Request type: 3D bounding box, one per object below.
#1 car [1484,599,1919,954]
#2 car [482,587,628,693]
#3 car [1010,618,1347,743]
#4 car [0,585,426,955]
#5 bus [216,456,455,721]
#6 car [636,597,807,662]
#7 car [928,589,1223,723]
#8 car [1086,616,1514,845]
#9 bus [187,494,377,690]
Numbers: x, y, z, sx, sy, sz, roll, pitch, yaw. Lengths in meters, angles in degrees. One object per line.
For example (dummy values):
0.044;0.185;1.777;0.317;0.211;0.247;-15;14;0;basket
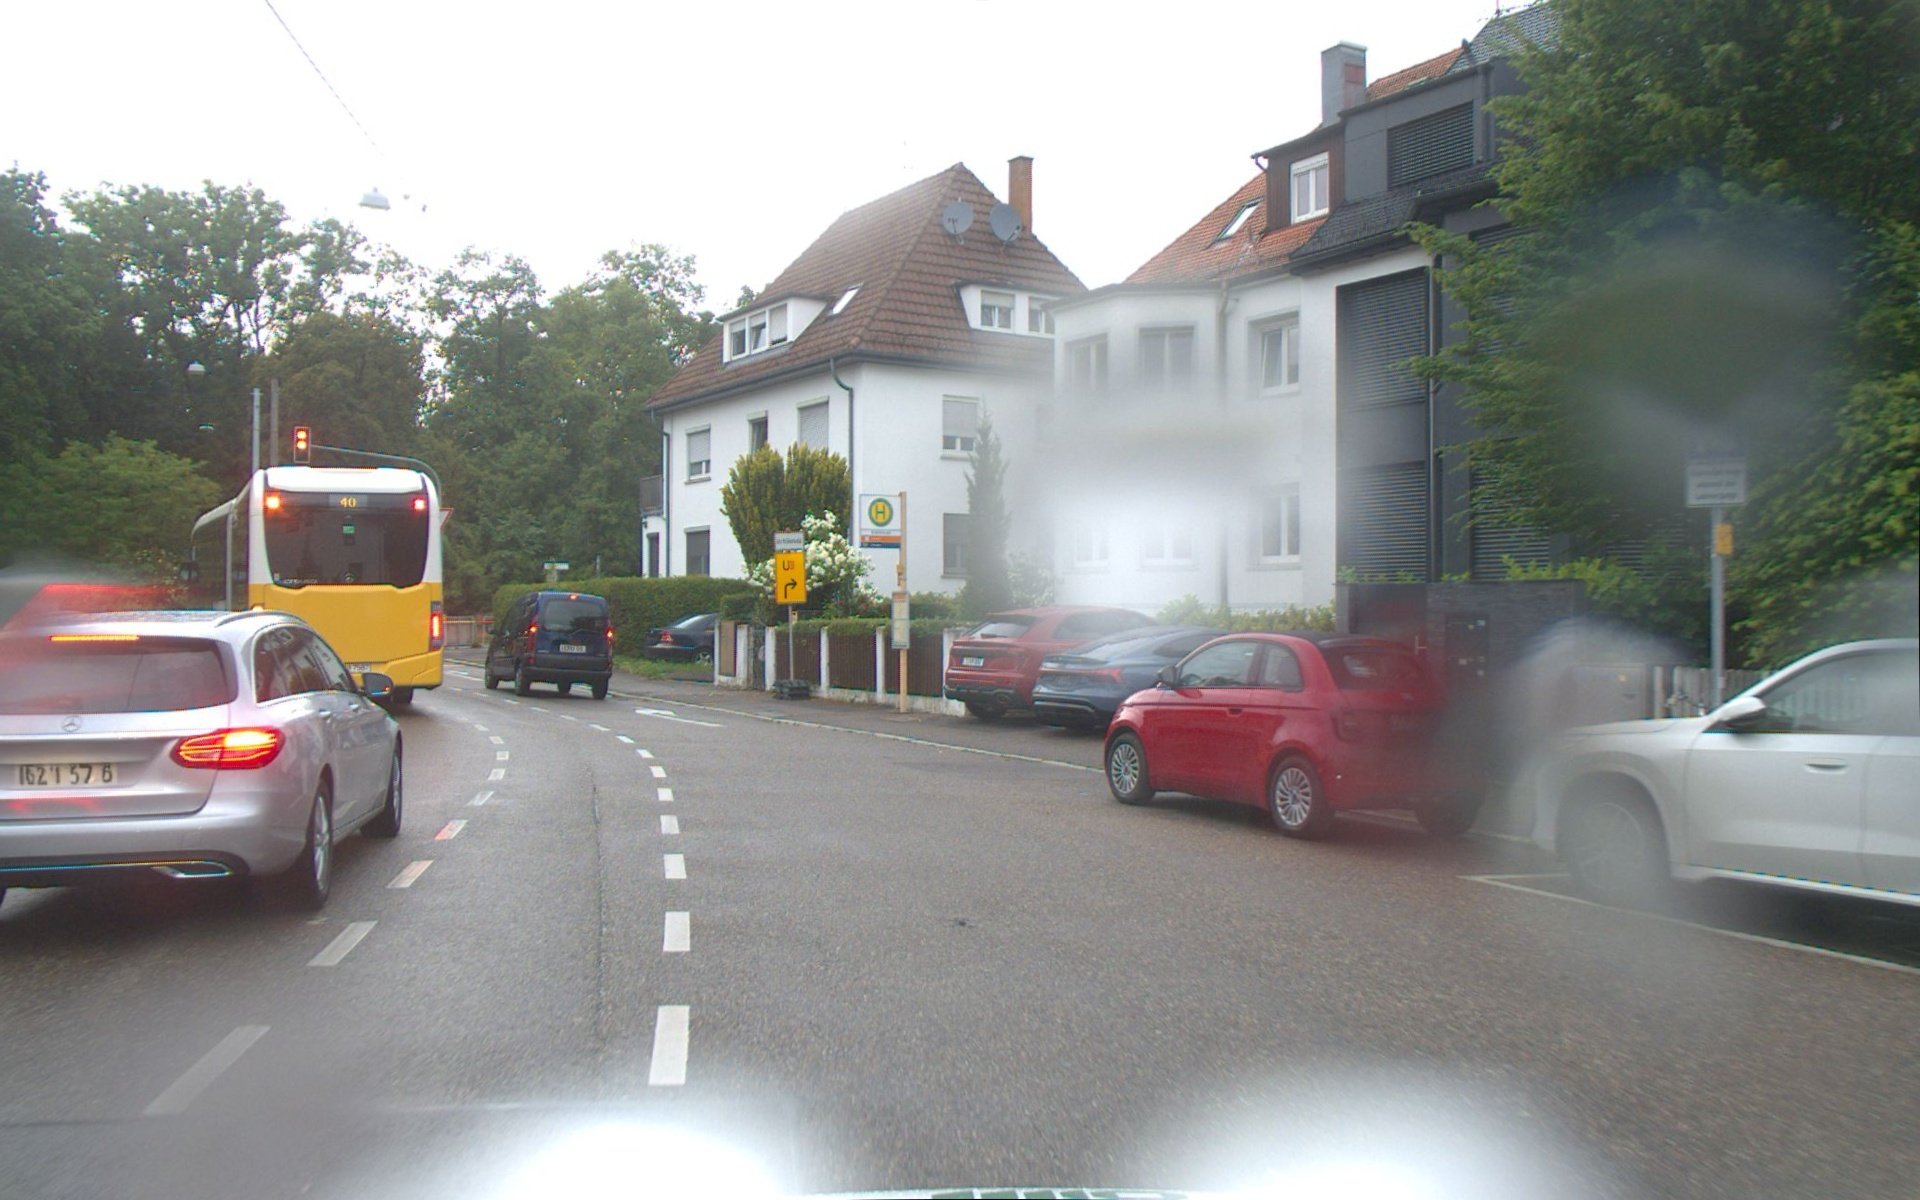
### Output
5.209;0.896;8.883;1.726;1.702;4.600;2;-1;-30;car
-7.549;0.725;30.585;1.787;1.829;3.965;1;-1;-27;car
3.052;1.025;22.678;4.511;1.441;1.975;-1;1;-36;car
-4.248;0.683;9.043;1.958;1.505;4.474;0;1;-11;car
-10.066;-0.167;26.027;2.645;3.458;8.605;0;0;-27;bus
-5.657;0.674;39.349;3.705;1.412;1.600;0;2;-31;car
1.744;0.748;24.456;4.038;1.781;1.976;-1;1;-34;car
2.656;0.970;13.649;1.592;1.564;3.509;2;-1;-27;car
-14.084;-0.150;33.880;2.865;3.458;8.960;0;0;-27;bus
